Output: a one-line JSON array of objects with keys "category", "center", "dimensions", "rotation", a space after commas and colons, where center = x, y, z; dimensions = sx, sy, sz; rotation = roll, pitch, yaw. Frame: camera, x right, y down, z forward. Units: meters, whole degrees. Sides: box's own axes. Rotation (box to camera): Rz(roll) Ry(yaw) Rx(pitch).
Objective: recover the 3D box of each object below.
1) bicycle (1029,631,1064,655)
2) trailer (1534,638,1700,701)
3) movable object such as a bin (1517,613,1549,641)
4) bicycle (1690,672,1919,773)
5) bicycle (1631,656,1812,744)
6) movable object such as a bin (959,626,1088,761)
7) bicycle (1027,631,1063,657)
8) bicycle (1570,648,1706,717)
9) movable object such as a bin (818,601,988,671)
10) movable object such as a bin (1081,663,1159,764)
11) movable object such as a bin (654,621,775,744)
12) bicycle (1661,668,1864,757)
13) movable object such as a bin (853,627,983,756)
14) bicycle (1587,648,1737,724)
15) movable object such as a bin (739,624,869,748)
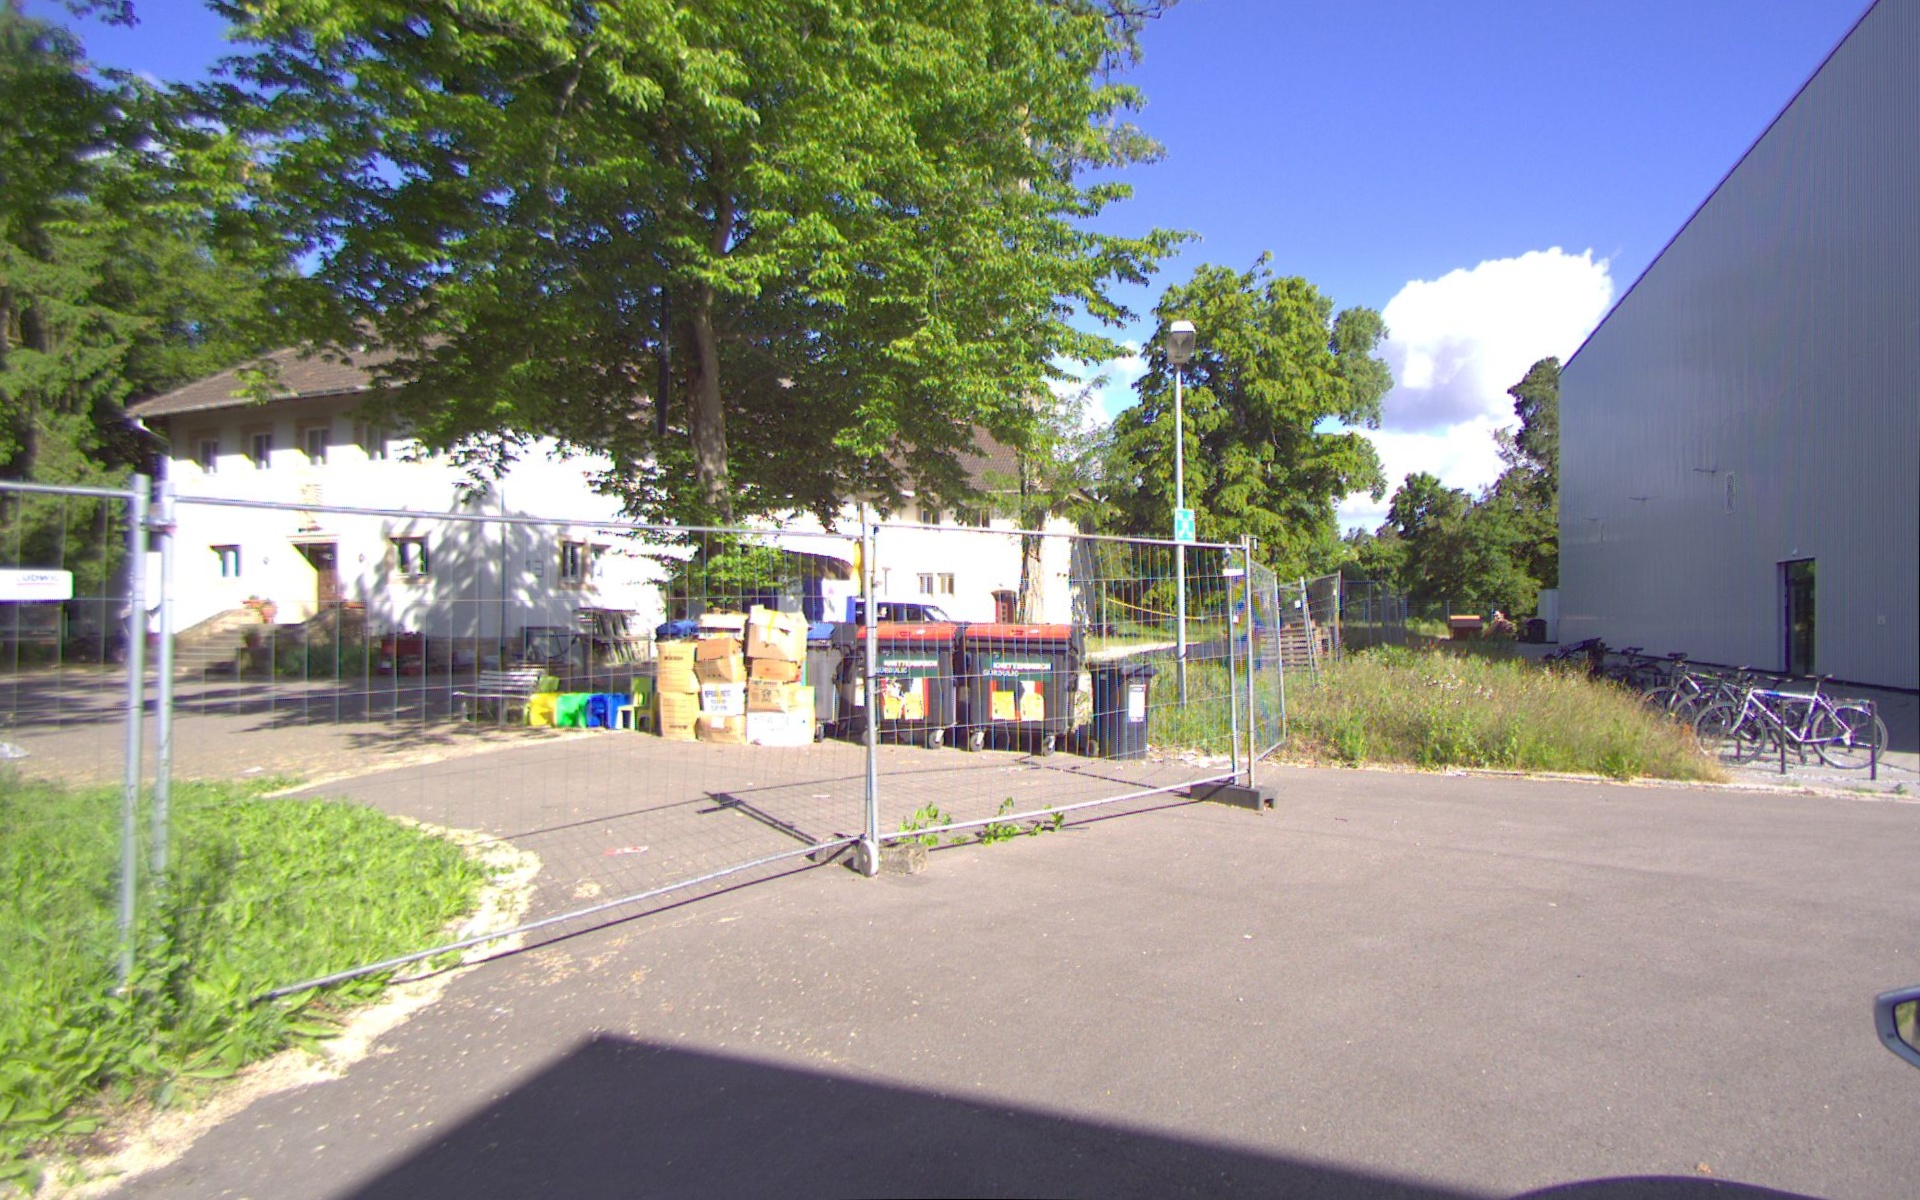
[{"category": "bicycle", "center": [3.492, 1.733, 40.543], "dimensions": [1.407, 0.997, 0.261], "rotation": [-1, -1, 20]}, {"category": "trailer", "center": [13.557, 1.414, 20.863], "dimensions": [2.666, 1.215, 1.246], "rotation": [-1, -1, 21]}, {"category": "movable object such as a bin", "center": [34.744, 1.620, 60.968], "dimensions": [1.341, 1.678, 2.841], "rotation": [-1, -1, 23]}, {"category": "bicycle", "center": [9.096, 1.302, 10.887], "dimensions": [1.852, 0.991, 0.433], "rotation": [-1, -1, 21]}, {"category": "bicycle", "center": [10.060, 1.305, 13.328], "dimensions": [1.852, 1.096, 0.433], "rotation": [-1, -1, 21]}, {"category": "movable object such as a bin", "center": [0.747, 1.027, 11.513], "dimensions": [1.266, 1.445, 1.033], "rotation": [-1, -1, 17]}, {"category": "bicycle", "center": [3.395, 1.761, 40.267], "dimensions": [1.407, 0.997, 0.261], "rotation": [-1, -1, 20]}, {"category": "bicycle", "center": [11.475, 1.379, 17.062], "dimensions": [1.852, 1.118, 0.433], "rotation": [-1, -1, 21]}, {"category": "movable object such as a bin", "center": [-1.717, 1.084, 30.421], "dimensions": [4.791, 1.996, 1.933], "rotation": [-1, -1, 19]}, {"category": "movable object such as a bin", "center": [1.738, 1.209, 10.890], "dimensions": [0.633, 1.020, 0.603], "rotation": [-1, -1, 36]}, {"category": "movable object such as a bin", "center": [-3.072, 1.001, 12.629], "dimensions": [1.066, 1.457, 1.055], "rotation": [-1, -1, 23]}, {"category": "bicycle", "center": [9.624, 1.334, 12.112], "dimensions": [1.852, 0.991, 0.433], "rotation": [-1, -1, 21]}, {"category": "movable object such as a bin", "center": [-0.481, 1.043, 11.920], "dimensions": [1.266, 1.445, 1.032], "rotation": [-1, -1, 19]}, {"category": "bicycle", "center": [10.936, 1.325, 15.710], "dimensions": [1.852, 1.141, 0.433], "rotation": [-1, -1, 21]}, {"category": "movable object such as a bin", "center": [-1.923, 1.029, 12.482], "dimensions": [1.266, 1.445, 1.032], "rotation": [-1, -1, 19]}]
